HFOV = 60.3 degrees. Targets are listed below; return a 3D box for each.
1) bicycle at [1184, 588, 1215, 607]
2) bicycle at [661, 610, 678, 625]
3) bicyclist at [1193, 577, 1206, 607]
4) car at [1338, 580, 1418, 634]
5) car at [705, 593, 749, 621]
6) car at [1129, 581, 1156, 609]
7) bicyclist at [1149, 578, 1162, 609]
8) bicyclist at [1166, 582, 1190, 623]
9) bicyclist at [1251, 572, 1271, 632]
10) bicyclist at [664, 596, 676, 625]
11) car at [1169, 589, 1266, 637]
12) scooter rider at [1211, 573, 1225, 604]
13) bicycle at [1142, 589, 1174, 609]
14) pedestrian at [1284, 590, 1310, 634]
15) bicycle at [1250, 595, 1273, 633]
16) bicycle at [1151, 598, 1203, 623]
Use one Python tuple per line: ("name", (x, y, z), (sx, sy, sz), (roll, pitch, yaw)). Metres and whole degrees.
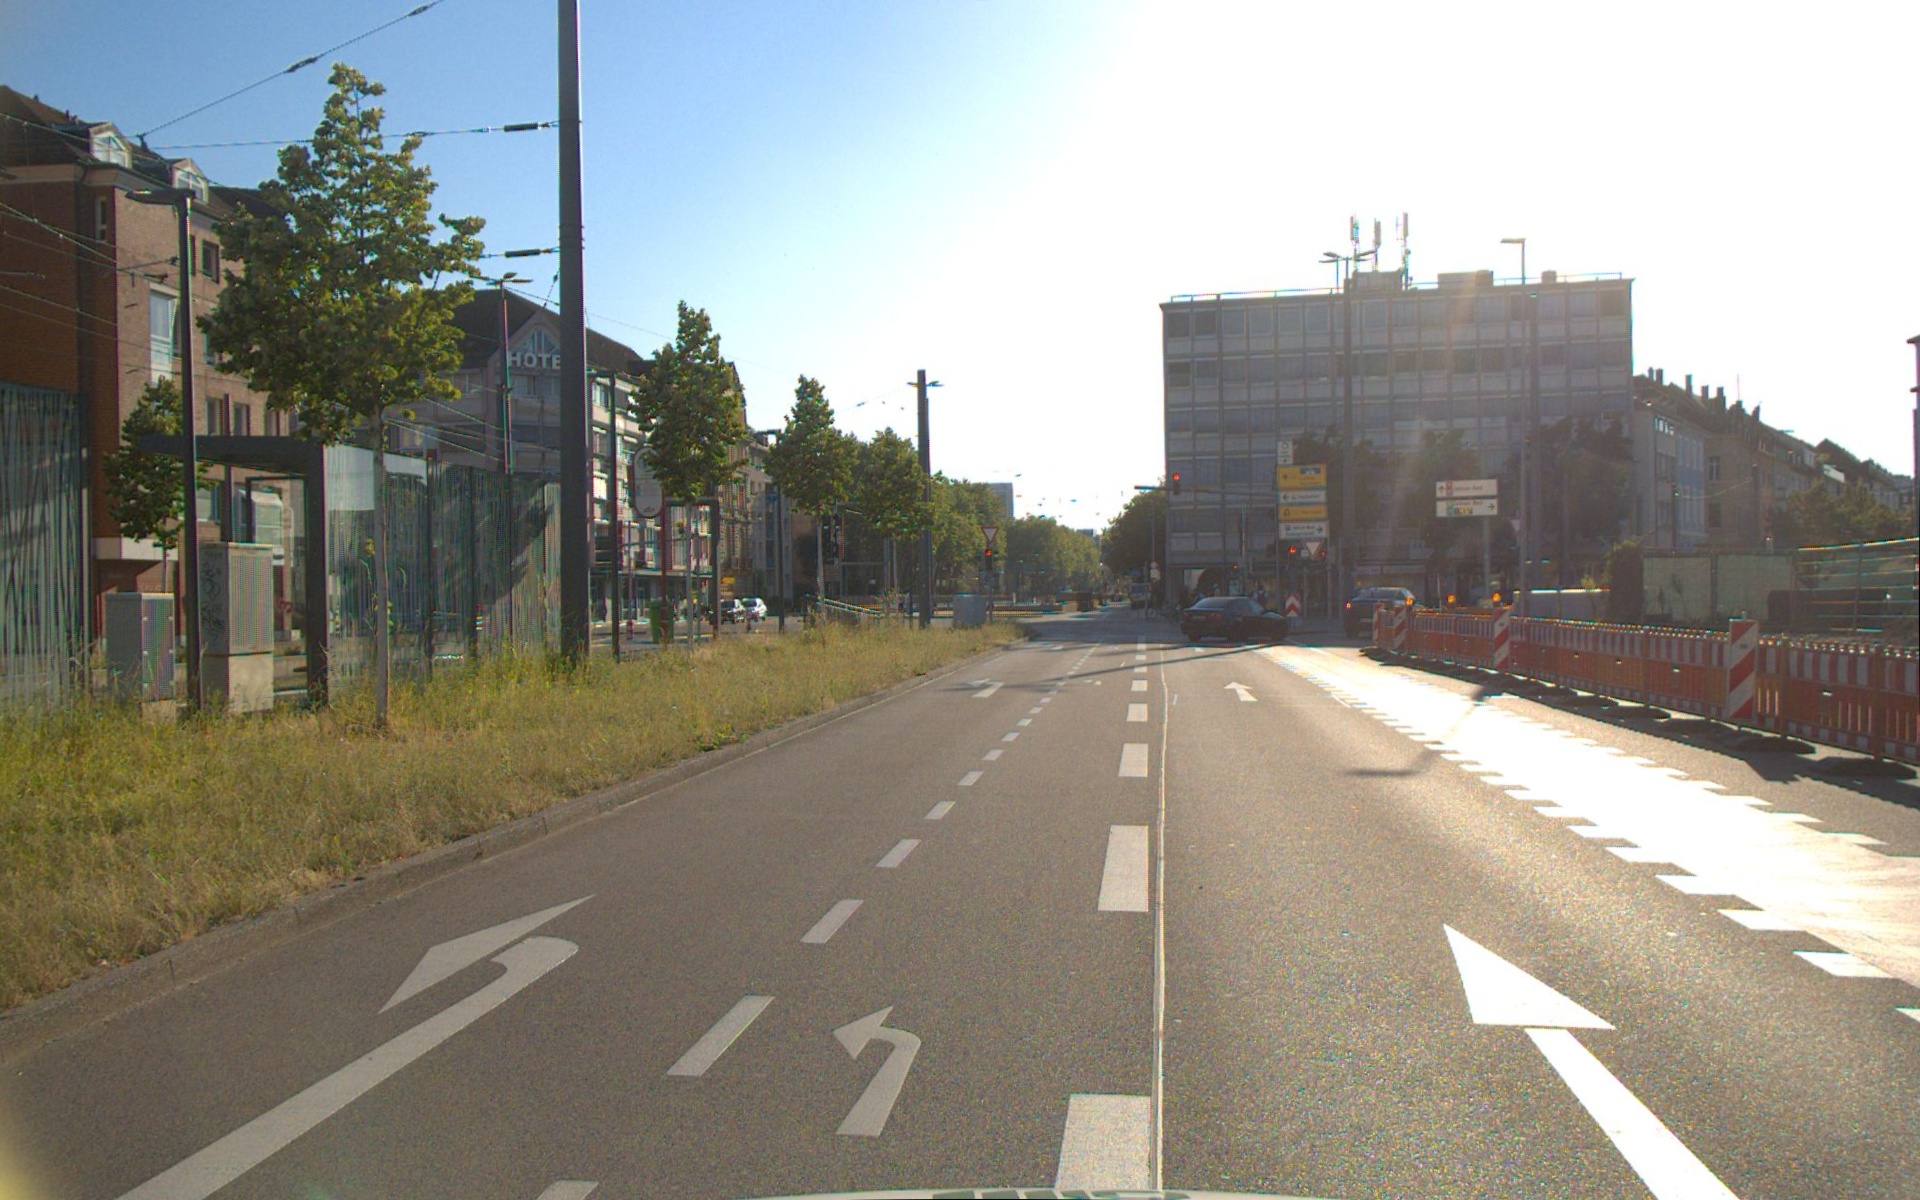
("bicycle", (14.263, -0.146, 98.588), (1.697, 1.078, 0.539), (-2, 0, -4))
("bicycle", (-19.583, 1.162, 111.481), (0.585, 0.931, 1.837), (-2, 0, 8))
("bicyclist", (14.264, -0.486, 98.589), (0.650, 1.742, 0.538), (-1, 0, -3))
("car", (14.515, 0.220, 57.283), (1.954, 1.723, 3.998), (1, 2, 25))
("car", (-16.281, 0.481, 115.845), (1.951, 1.892, 4.003), (-2, 0, 9))
("car", (17.155, -0.455, 155.611), (2.433, 2.434, 5.938), (-3, 0, 6))
("bicyclist", (11.105, -0.370, 94.020), (0.650, 1.742, 0.538), (-1, 0, -3))
("bicyclist", (9.319, 0.105, 70.674), (0.938, 1.690, 0.692), (-1, 0, 10))
("bicyclist", (10.530, 0.066, 57.895), (0.630, 2.048, 1.068), (1, 2, 7))
("bicyclist", (-19.563, 0.694, 111.480), (0.580, 1.894, 0.642), (-2, 0, 8))
("car", (8.327, 0.405, 53.237), (1.712, 1.451, 3.991), (-1, 0, 31))
("scooter rider", (14.538, -0.635, 93.279), (0.650, 1.742, 0.526), (-1, 0, -3))
("bicycle", (11.260, -0.034, 94.030), (1.740, 1.091, 0.535), (-2, 0, -4))
("pedestrian", (12.728, 0.445, 62.525), (0.860, 1.625, 0.656), (-1, 0, 6))
("bicycle", (10.523, 0.483, 57.759), (0.631, 1.244, 2.050), (1, 2, 7))
("bicycle", (9.268, 0.432, 70.677), (2.178, 1.044, 0.683), (-1, 0, 10))
